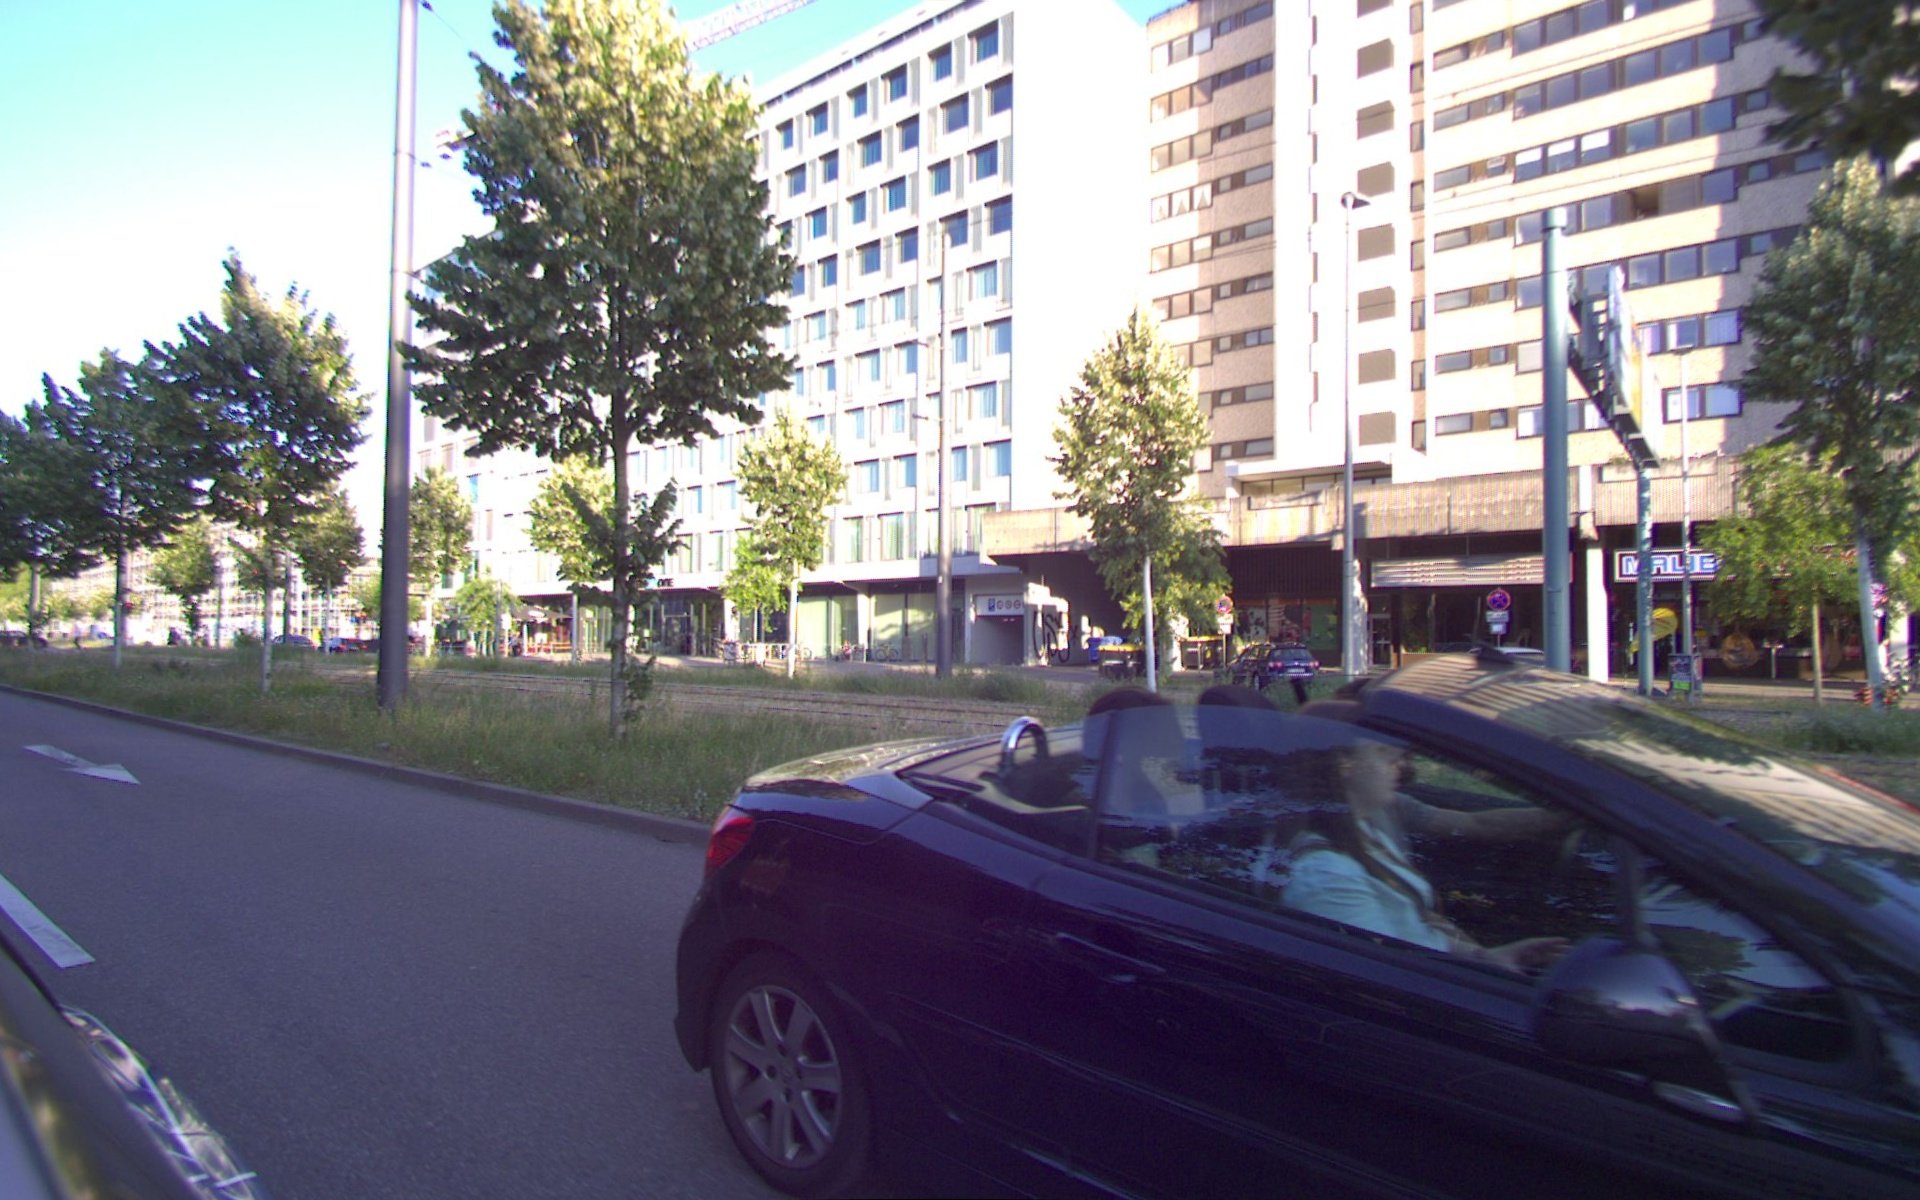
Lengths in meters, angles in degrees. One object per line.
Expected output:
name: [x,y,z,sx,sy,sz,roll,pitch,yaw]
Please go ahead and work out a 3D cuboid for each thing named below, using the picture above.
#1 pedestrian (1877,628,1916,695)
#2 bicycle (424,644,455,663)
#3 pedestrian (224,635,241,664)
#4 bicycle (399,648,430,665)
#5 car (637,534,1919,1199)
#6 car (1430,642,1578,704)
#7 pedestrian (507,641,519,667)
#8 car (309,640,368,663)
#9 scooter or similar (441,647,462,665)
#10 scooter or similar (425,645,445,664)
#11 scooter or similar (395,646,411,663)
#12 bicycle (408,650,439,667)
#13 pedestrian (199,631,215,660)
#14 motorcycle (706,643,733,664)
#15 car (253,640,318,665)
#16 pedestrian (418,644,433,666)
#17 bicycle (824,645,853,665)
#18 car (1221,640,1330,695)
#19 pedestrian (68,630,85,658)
pedestrian: [24.241,1.576,26.214,0.661,1.674,0.657,-2,-1,40]
bicycle: [-34.771,3.564,67.601,0.442,1.208,1.892,-2,-2,35]
pedestrian: [-51.507,3.470,71.641,0.854,2.029,0.822,-2,-3,42]
bicycle: [-37.463,3.880,69.488,0.442,1.067,1.892,-2,-2,35]
car: [1.198,0.691,2.163,3.895,1.461,1.702,-3,-3,38]
car: [14.943,1.960,28.087,1.800,1.447,4.131,-1,-1,0]
pedestrian: [-28.806,3.486,65.177,0.603,1.612,0.492,-2,-1,40]
car: [-40.108,3.297,65.265,4.217,1.451,1.867,-2,-3,38]
scooter or similar: [-33.014,3.633,65.703,0.337,1.066,1.170,-4,0,39]
scooter or similar: [-35.286,3.668,68.023,0.338,1.227,1.170,-1,-3,39]
scooter or similar: [-39.309,3.843,71.427,0.338,1.093,0.962,1,1,39]
bicycle: [-36.410,3.960,68.700,0.442,1.067,1.892,-2,-2,35]
pedestrian: [-51.692,3.111,69.448,0.708,1.938,0.672,-2,1,41]
motorcycle: [-14.132,3.158,59.587,0.513,1.180,1.883,-1,-2,23]
car: [-42.071,3.285,63.078,4.795,1.452,1.995,-2,-5,39]
pedestrian: [-39.860,4.087,75.512,0.699,1.616,0.680,-2,-1,3]
bicycle: [-6.304,2.871,52.605,0.420,1.028,1.772,-2,-3,35]
car: [9.808,2.060,31.833,1.980,1.602,4.286,0,-2,-1]
pedestrian: [-57.944,2.882,66.373,0.762,1.850,0.700,-2,-1,37]
